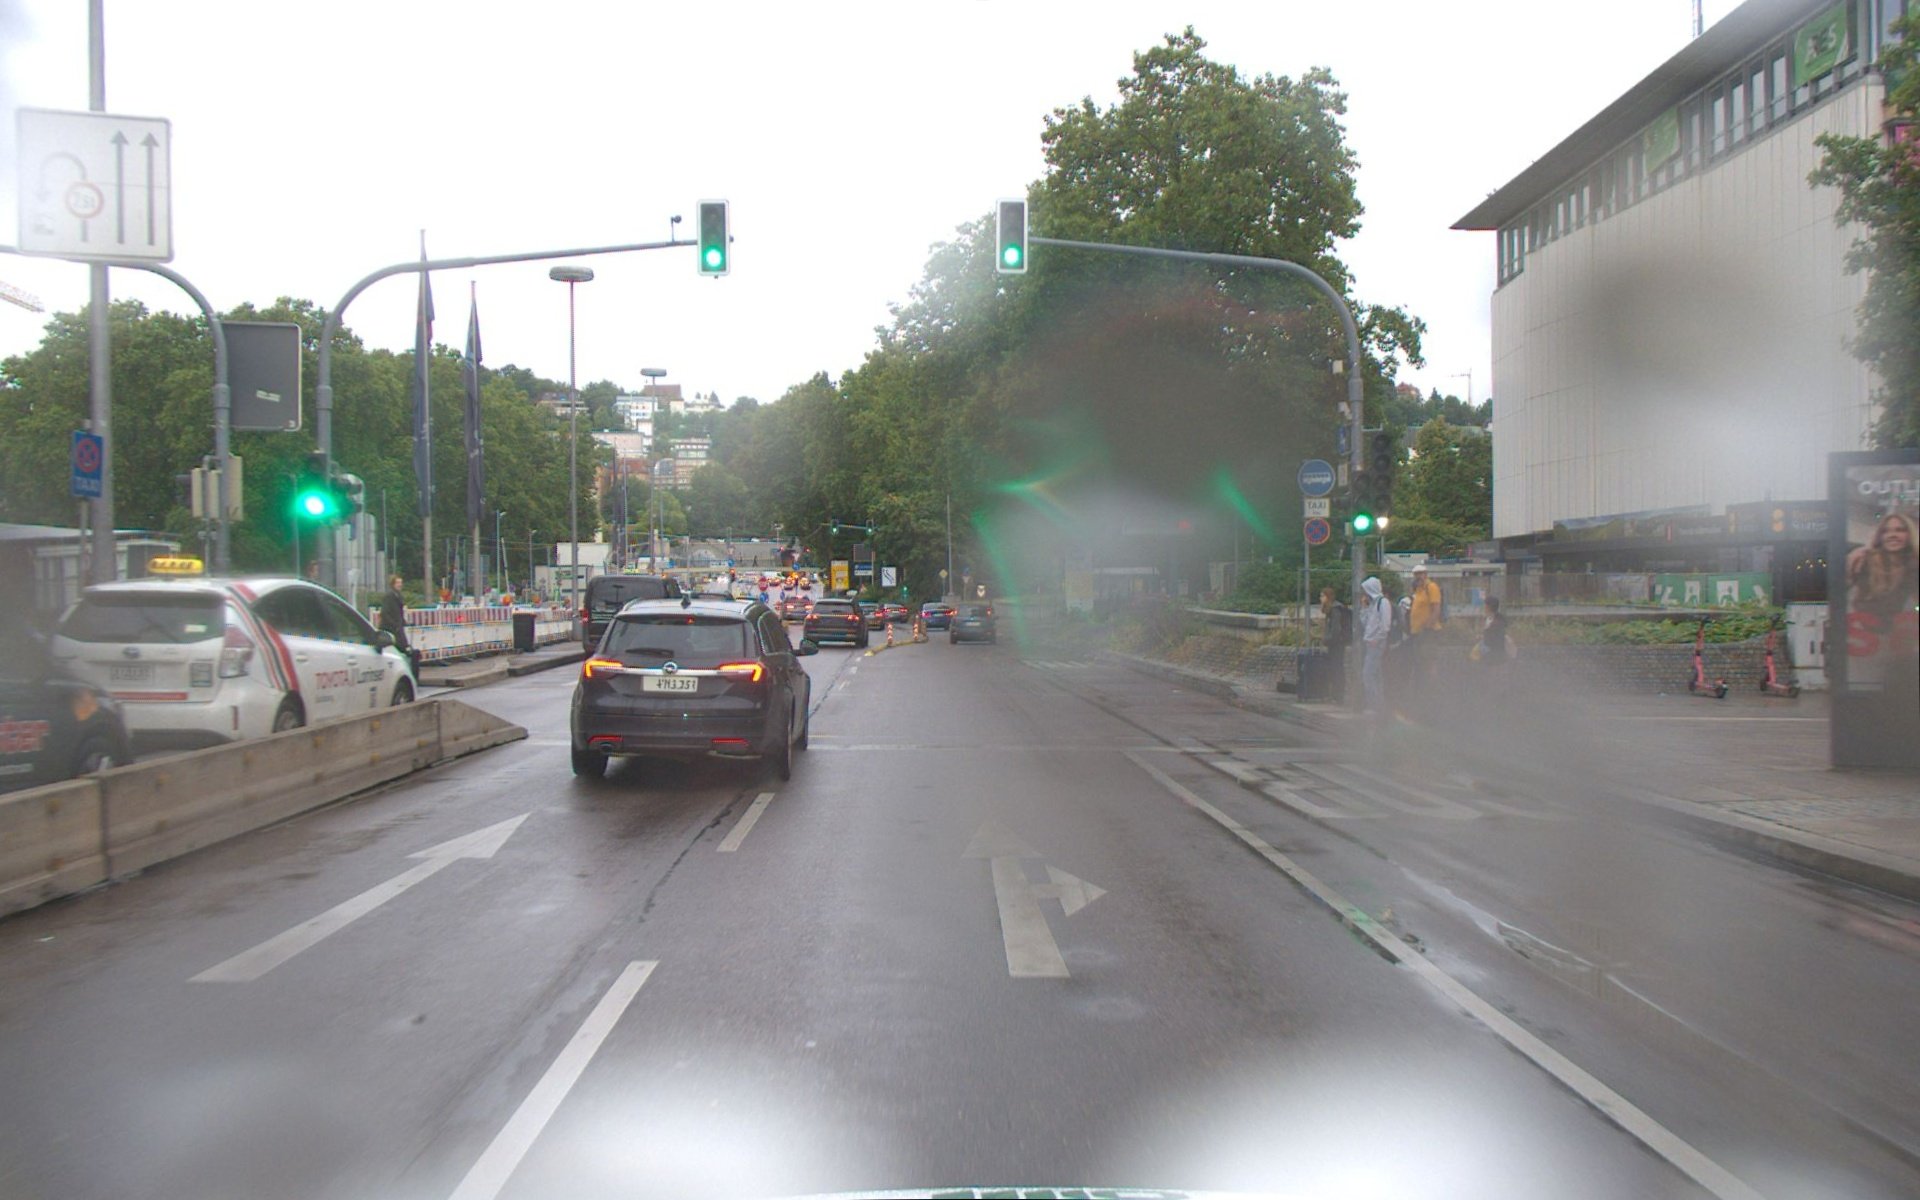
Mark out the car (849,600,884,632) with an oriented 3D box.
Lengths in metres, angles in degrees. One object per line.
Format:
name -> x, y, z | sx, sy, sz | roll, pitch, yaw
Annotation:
car -> -5.286, 0.915, 93.810 | 1.866, 1.747, 3.998 | 1, -1, -2

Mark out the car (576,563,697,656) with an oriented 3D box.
car -> -7.011, 0.226, 36.323 | 1.954, 1.878, 5.058 | 1, -1, -4

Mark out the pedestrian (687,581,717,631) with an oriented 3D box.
pedestrian -> -10.814, 0.249, 69.332 | 1.003, 2.049, 0.837 | 0, 0, 14

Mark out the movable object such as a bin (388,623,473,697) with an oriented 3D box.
movable object such as a bin -> -8.125, 0.914, 25.385 | 0.983, 1.095, 0.749 | -1, 0, 22

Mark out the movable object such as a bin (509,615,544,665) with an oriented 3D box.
movable object such as a bin -> -10.430, 0.957, 39.798 | 0.657, 1.182, 0.766 | 2, -1, -7

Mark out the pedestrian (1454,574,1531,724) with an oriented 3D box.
pedestrian -> 6.685, 0.604, 20.773 | 0.533, 1.836, 0.751 | 0, -1, -28

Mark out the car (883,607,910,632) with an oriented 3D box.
car -> -4.304, 1.323, 110.932 | 1.603, 1.653, 3.791 | 1, -1, -5

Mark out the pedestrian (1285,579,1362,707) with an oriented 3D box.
pedestrian -> 5.438, 0.636, 24.762 | 0.773, 1.871, 0.946 | 0, -1, -15

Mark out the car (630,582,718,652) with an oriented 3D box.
car -> -7.434, 0.450, 43.393 | 1.788, 1.726, 4.769 | 1, -1, -4

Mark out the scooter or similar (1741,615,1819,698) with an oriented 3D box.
scooter or similar -> 13.056, 0.881, 26.365 | 0.366, 1.281, 1.312 | 1, -1, -12

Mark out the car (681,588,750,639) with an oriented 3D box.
car -> -7.674, 0.433, 52.248 | 1.788, 1.537, 4.486 | 1, -1, -4

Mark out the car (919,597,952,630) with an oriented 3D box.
car -> -1.242, 0.709, 84.859 | 1.640, 1.609, 3.239 | 1, -1, -1

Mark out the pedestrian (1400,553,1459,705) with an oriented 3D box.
pedestrian -> 6.830, 0.417, 24.091 | 0.545, 2.183, 0.665 | 0, -1, -15

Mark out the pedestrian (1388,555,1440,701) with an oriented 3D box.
pedestrian -> 6.894, 0.417, 25.136 | 0.693, 2.183, 0.722 | -1, 0, 13

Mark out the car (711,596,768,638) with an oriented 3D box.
car -> -8.993, 0.684, 67.713 | 1.954, 1.595, 4.871 | -2, -1, -4

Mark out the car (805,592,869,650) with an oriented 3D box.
car -> -3.750, 0.628, 50.915 | 1.793, 1.715, 4.132 | 0, 0, -2

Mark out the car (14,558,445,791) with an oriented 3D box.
car -> -6.153, 0.565, 14.623 | 1.750, 1.715, 4.666 | -1, 0, 0

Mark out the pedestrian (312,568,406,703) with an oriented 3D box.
pedestrian -> -8.725, 0.503, 24.017 | 0.983, 1.919, 0.817 | -1, -1, 22

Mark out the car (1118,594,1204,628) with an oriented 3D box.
car -> 9.263, 0.503, 76.315 | 3.550, 1.532, 1.726 | 0, -1, 39

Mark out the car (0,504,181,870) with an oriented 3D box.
car -> -5.888, 0.464, 8.436 | 1.678, 1.925, 4.609 | -1, 0, -1

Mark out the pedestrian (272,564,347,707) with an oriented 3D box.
pedestrian -> -8.895, 0.476, 22.637 | 0.815, 1.919, 0.690 | 0, 0, -10

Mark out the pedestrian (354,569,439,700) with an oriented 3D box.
pedestrian -> -8.417, 0.512, 24.715 | 0.983, 1.919, 0.683 | -1, -1, 22

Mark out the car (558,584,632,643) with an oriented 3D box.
car -> -13.344, 0.499, 60.788 | 1.955, 2.049, 5.363 | 1, -1, -5

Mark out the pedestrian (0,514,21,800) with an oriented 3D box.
pedestrian -> -7.431, 0.409, 11.813 | 0.820, 2.049, 1.023 | 0, 0, 37

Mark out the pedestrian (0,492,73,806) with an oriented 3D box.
pedestrian -> -6.510, 0.318, 11.226 | 0.517, 2.049, 0.890 | 0, 0, -3

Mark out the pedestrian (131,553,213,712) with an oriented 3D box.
pedestrian -> -8.920, 0.364, 18.748 | 0.571, 1.765, 0.756 | 0, 0, -1

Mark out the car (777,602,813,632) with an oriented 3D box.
car -> -10.751, 1.091, 107.564 | 1.957, 1.859, 3.990 | 1, -1, -10

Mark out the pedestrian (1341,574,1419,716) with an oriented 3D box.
pedestrian -> 5.541, 0.585, 21.851 | 0.733, 1.836, 0.707 | 0, -1, -15

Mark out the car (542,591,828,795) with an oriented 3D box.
car -> -2.267, 0.721, 14.928 | 1.839, 1.534, 4.850 | 0, 0, -1

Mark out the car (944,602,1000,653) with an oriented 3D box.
car -> 0.395, 0.974, 59.541 | 1.814, 1.747, 3.998 | 1, -1, -2

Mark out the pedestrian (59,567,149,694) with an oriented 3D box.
pedestrian -> -13.147, 0.454, 25.423 | 0.816, 1.914, 1.028 | 0, 0, 2

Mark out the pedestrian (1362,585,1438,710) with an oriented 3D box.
pedestrian -> 6.184, 0.659, 23.273 | 0.857, 1.720, 0.758 | 0, 0, -1

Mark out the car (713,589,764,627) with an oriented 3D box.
car -> -9.774, 0.370, 73.172 | 1.954, 1.557, 4.148 | -2, -1, -4

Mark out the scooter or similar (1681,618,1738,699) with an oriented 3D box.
scooter or similar -> 11.901, 0.916, 26.278 | 0.345, 1.238, 1.157 | 1, -1, -2
